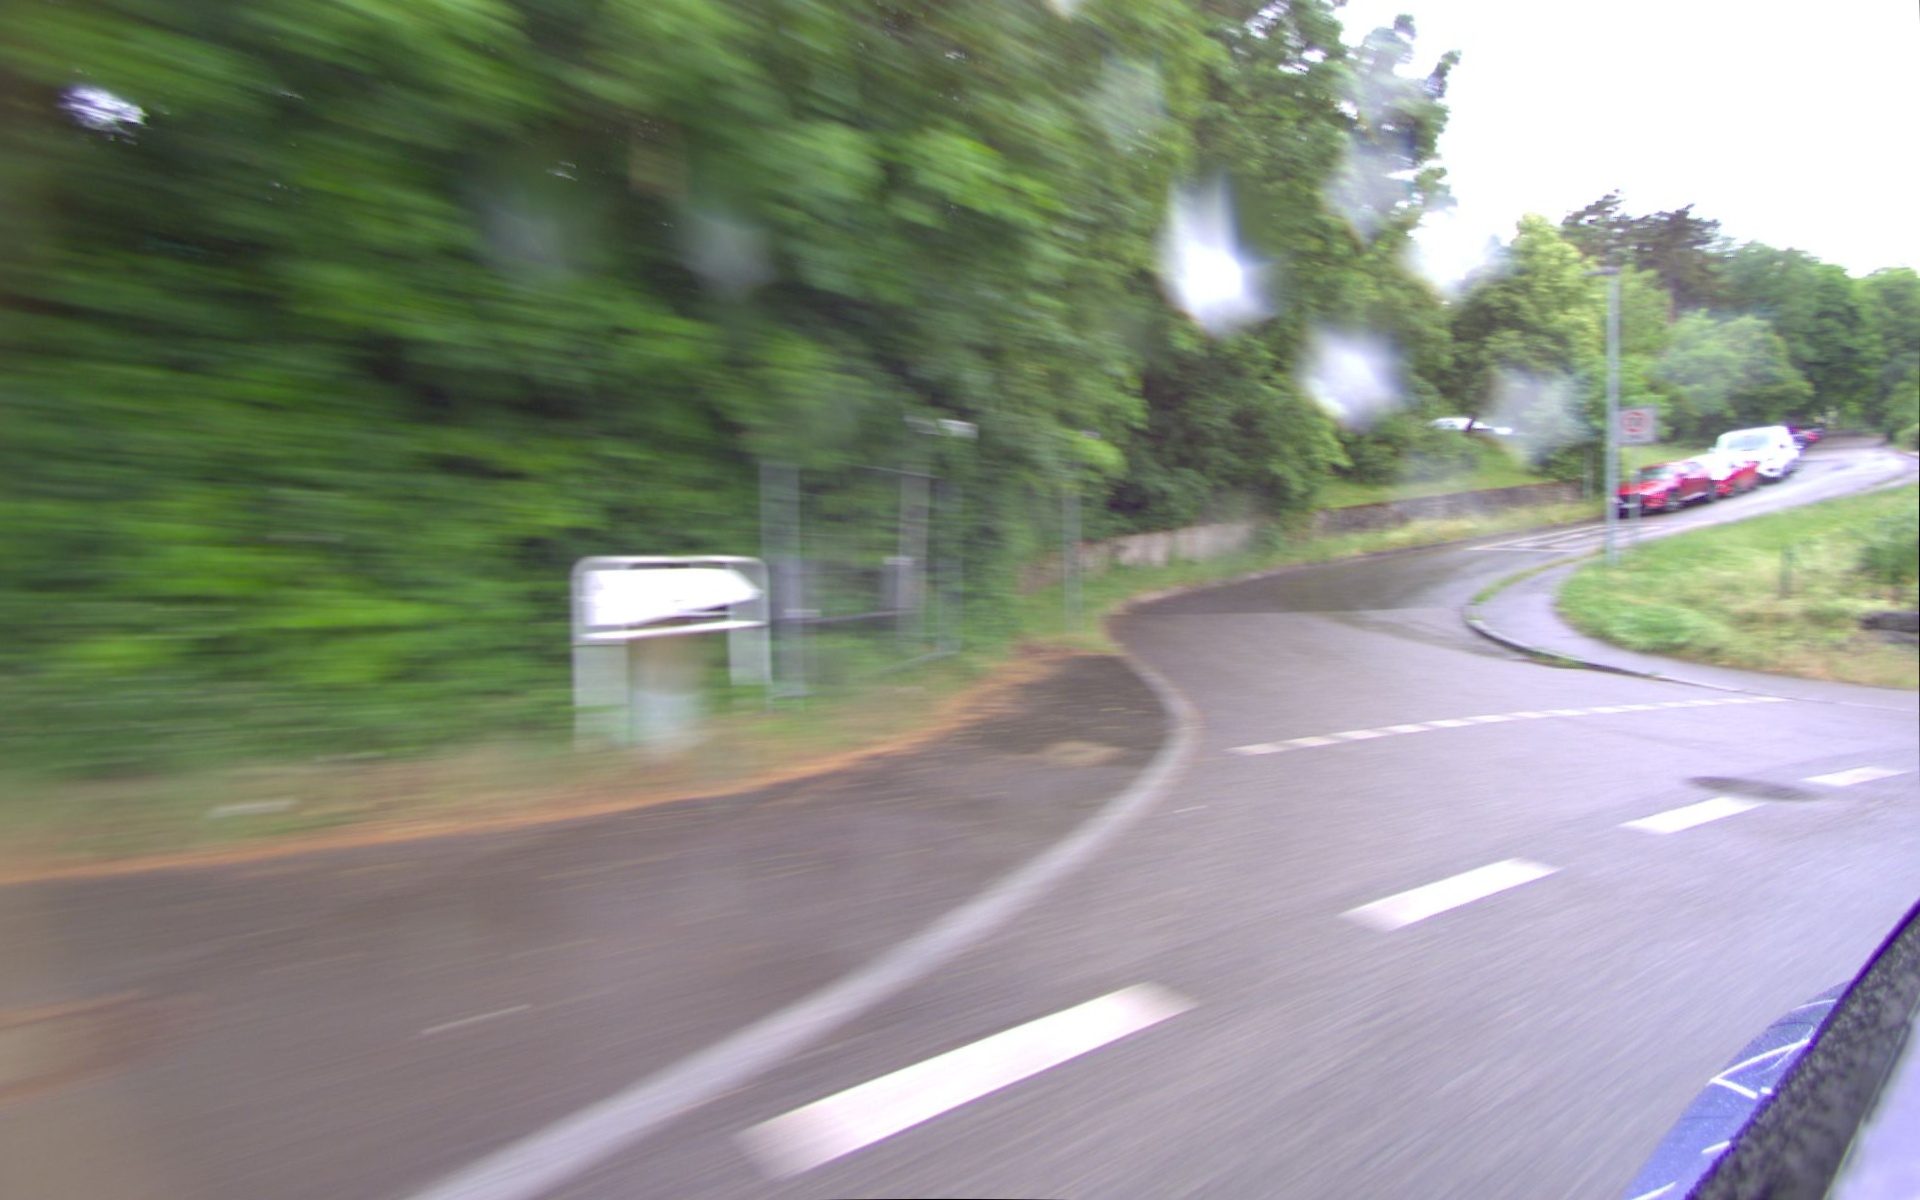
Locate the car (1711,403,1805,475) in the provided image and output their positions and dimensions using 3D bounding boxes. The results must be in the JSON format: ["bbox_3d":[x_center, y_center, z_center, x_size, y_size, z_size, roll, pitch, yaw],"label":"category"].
[{"bbox_3d":[30.434,-6.161,38.524,2.265,1.965,5.382,-1,11,44],"label":"car"}]

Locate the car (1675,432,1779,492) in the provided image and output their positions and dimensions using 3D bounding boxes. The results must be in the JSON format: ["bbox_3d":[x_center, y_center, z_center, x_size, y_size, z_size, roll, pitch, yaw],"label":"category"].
[{"bbox_3d":[26.450,-4.756,34.847,3.938,1.418,1.875,-14,9,-37],"label":"car"}]

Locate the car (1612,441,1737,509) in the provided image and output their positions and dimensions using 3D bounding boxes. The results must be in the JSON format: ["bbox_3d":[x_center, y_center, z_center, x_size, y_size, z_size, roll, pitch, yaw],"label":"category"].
[{"bbox_3d":[22.951,-4.023,32.482,3.932,1.524,1.878,-13,9,-32],"label":"car"}]

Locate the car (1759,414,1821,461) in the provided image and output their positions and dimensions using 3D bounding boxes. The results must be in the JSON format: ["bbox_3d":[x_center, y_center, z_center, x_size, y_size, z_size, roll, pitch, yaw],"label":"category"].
[{"bbox_3d":[34.546,-6.812,42.200,1.866,1.418,3.957,-3,10,38],"label":"car"}]
